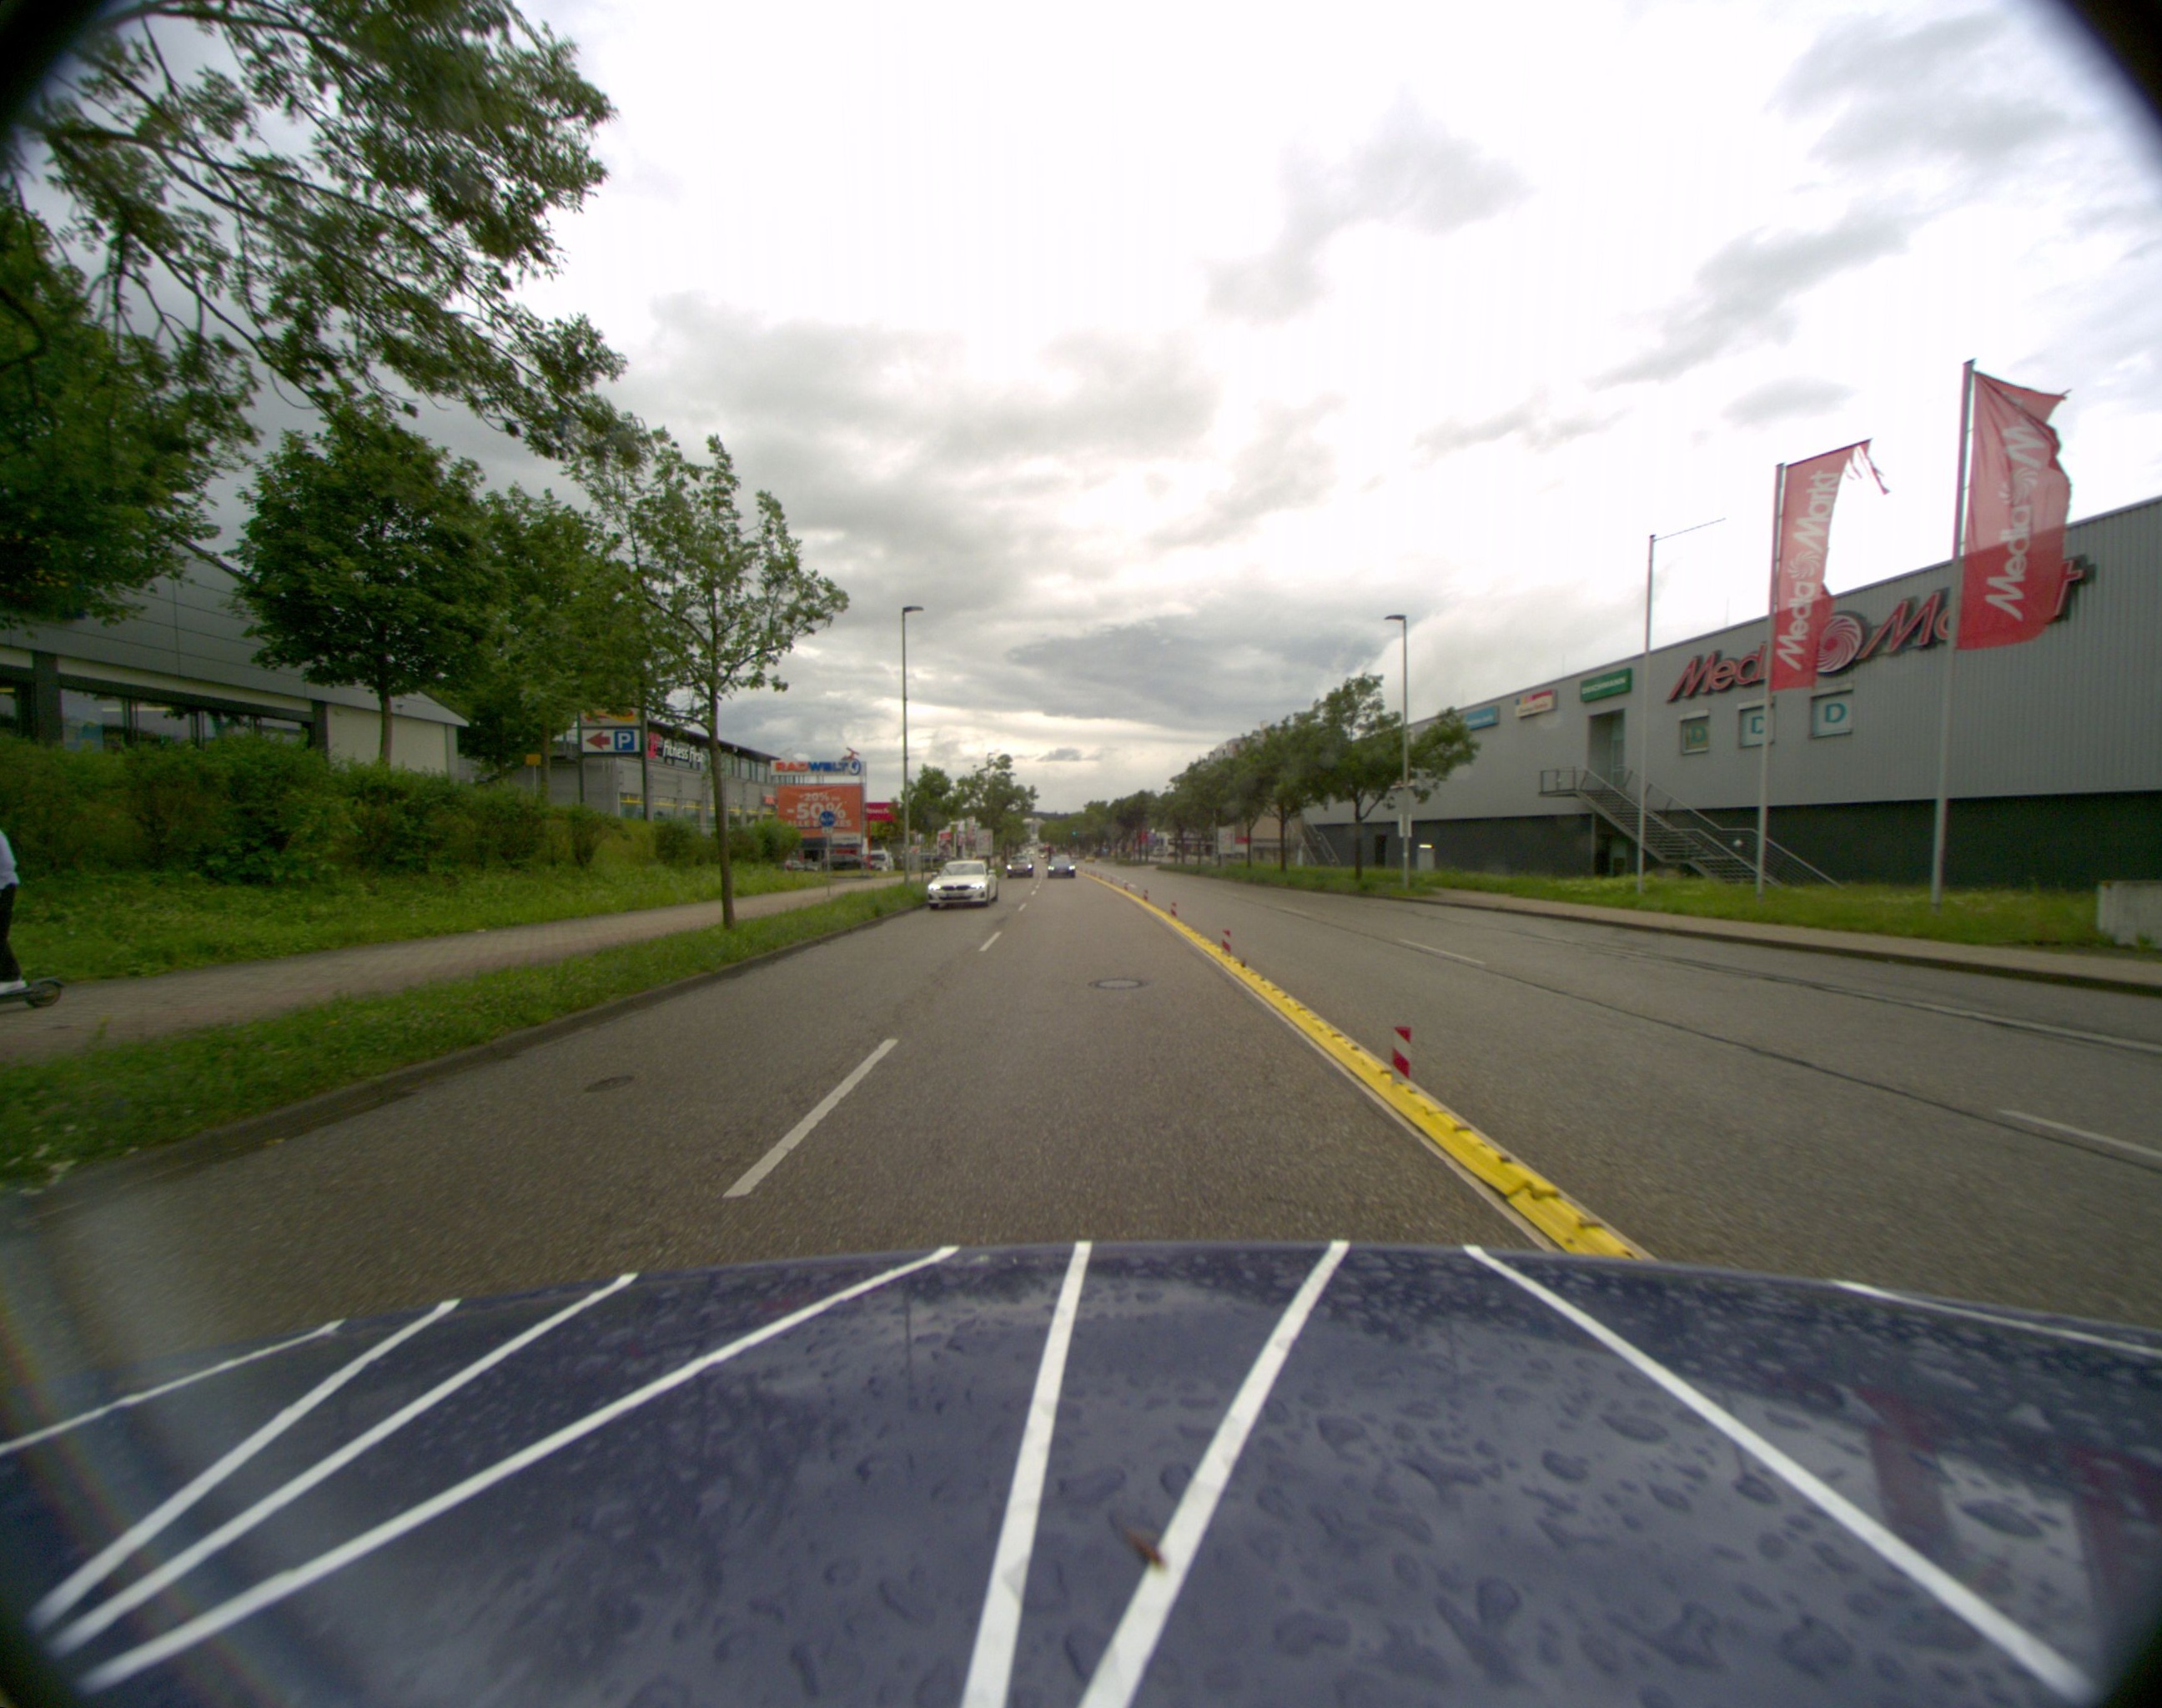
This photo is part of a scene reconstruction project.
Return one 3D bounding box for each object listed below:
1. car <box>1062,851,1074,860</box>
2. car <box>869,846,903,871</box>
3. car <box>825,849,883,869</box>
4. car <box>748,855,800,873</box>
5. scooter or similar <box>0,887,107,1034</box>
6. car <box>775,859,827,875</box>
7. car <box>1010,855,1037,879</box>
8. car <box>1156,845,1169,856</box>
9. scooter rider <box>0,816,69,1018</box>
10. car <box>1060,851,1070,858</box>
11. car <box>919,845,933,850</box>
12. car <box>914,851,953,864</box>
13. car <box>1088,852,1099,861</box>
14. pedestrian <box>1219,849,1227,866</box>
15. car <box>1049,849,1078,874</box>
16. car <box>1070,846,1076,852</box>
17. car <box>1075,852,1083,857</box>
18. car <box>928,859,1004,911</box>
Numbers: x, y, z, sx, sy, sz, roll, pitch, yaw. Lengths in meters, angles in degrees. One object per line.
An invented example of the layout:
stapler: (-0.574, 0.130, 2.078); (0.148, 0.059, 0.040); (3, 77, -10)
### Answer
car: (-2.338, 0.262, 134.101); (1.789, 1.398, 4.614); (0, 0, -5)
car: (-20.823, 0.494, 81.422); (2.233, 2.522, 5.679); (-2, 0, -2)
car: (-17.117, 0.392, 57.460); (4.106, 1.430, 1.795); (-1, -1, -16)
car: (-26.982, 0.913, 66.903); (3.882, 1.492, 1.735); (0, -2, -43)
scooter or similar: (-10.040, 0.978, 6.843); (0.696, 1.256, 1.400); (1, 1, 2)
car: (-26.886, 1.223, 73.038); (1.735, 1.461, 4.269); (-2, -2, 43)
car: (-4.197, 0.900, 55.026); (1.799, 1.572, 4.216); (-3, 0, -5)
car: (17.215, -0.703, 160.541); (1.998, 2.002, 4.885); (-5, 1, 1)
scooter rider: (-10.033, 0.556, 6.829); (0.696, 1.810, 0.858); (1, 2, 2)
car: (-3.193, 0.063, 152.074); (1.754, 1.501, 3.998); (0, 0, -5)
car: (-47.358, -1.880, 232.491); (3.998, 1.501, 1.799); (0, 0, -4)
car: (-19.430, 0.454, 100.190); (4.664, 1.591, 1.927); (2, 0, 6)
car: (2.414, 0.475, 150.942); (1.621, 1.500, 3.708); (-4, 2, -5)
pedestrian: (14.073, 0.341, 75.360); (0.586, 1.574, 0.767); (-3, 1, -2)
car: (-1.216, 0.502, 52.040); (1.799, 1.572, 4.217); (-2, 0, -2)
car: (-2.386, -1.512, 232.010); (1.746, 1.543, 4.780); (1, 0, -3)
car: (-0.556, 0.160, 207.474); (1.746, 1.398, 4.466); (1, 1, -3)
car: (-3.658, 0.937, 24.955); (1.808, 1.432, 4.541); (-2, 0, -1)
